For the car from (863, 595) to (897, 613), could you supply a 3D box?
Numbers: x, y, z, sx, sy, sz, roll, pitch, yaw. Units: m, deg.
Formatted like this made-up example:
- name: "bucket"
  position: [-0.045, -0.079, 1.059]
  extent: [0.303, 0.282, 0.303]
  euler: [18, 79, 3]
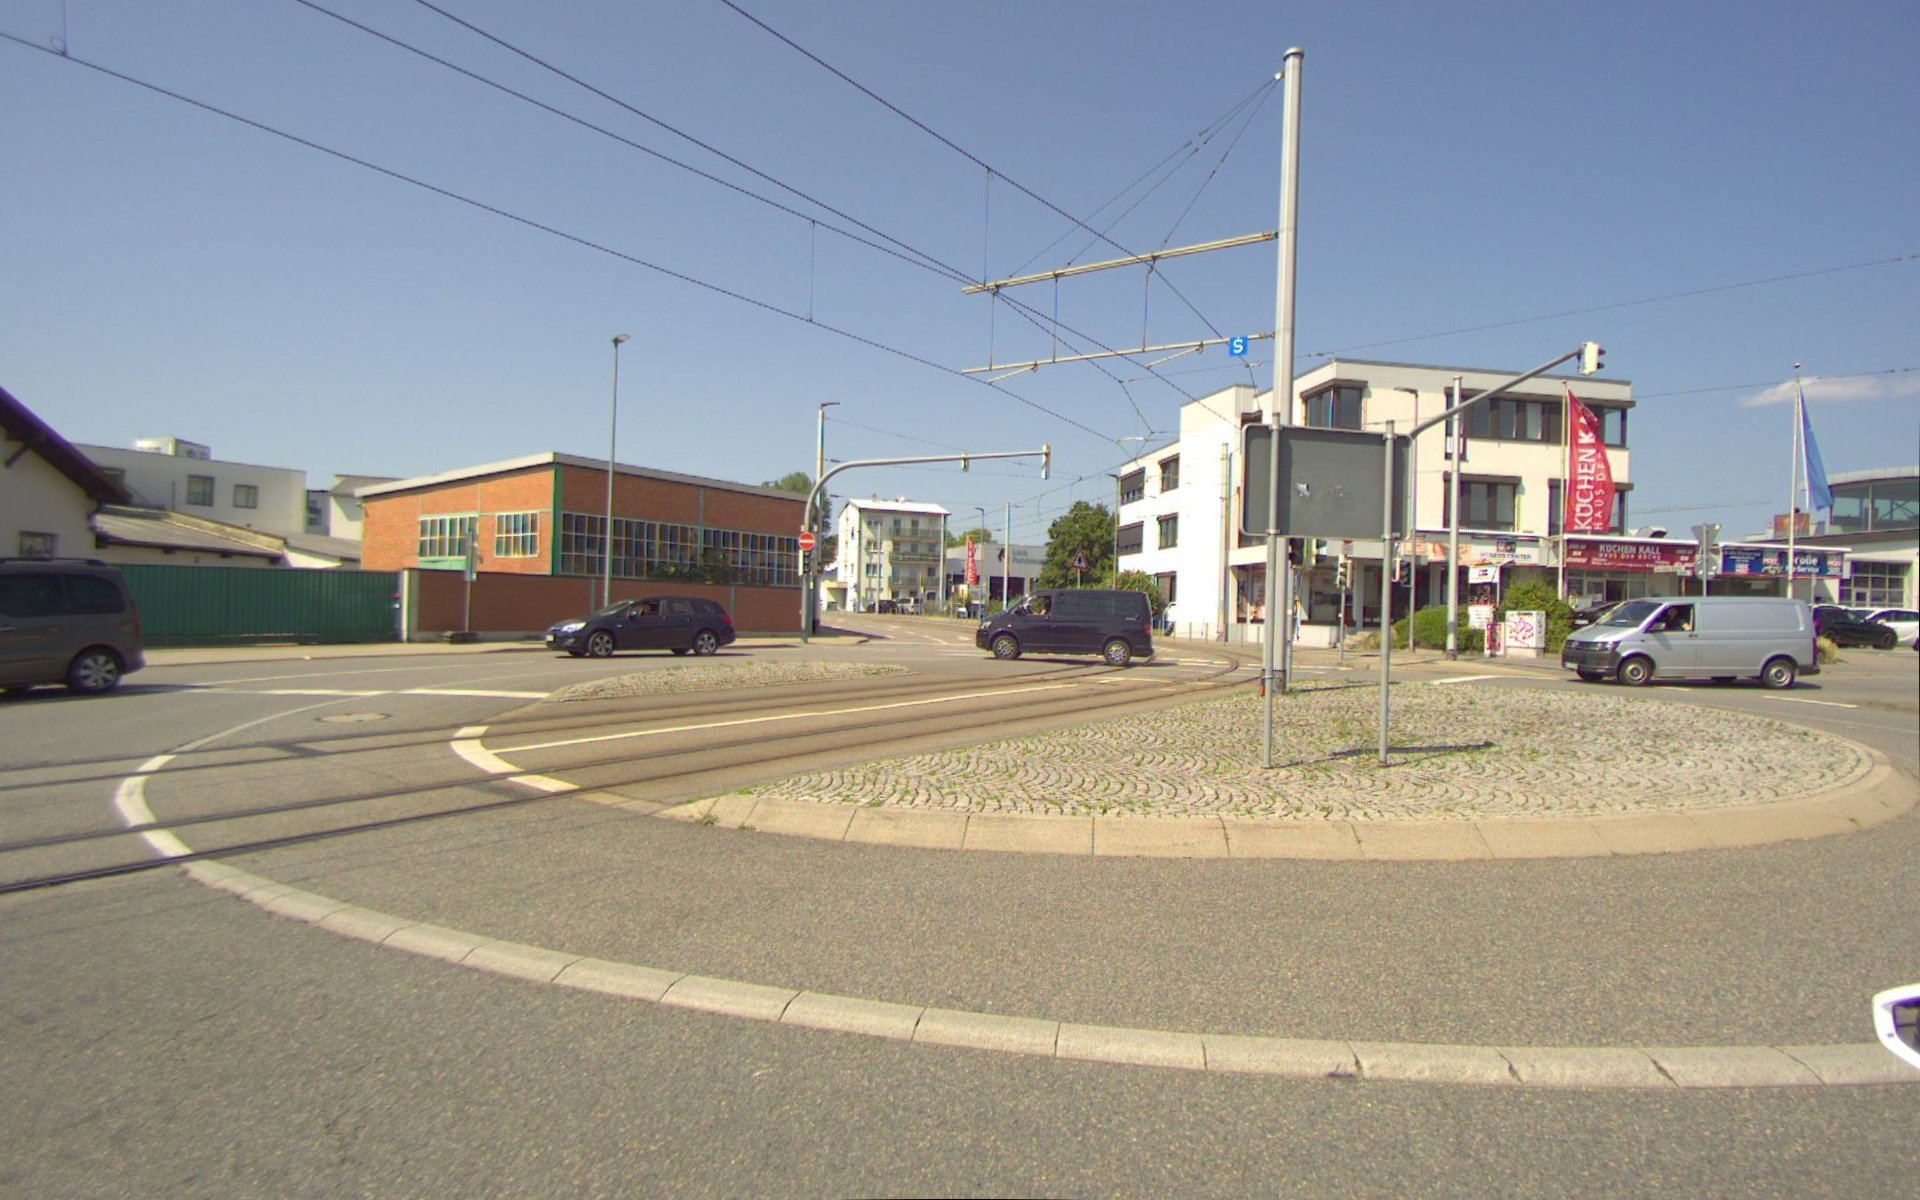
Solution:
- name: "car"
  position: [-9.089, 0.449, 113.293]
  extent: [1.983, 1.884, 3.956]
  euler: [1, -2, -39]

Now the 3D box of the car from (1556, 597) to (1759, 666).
- name: "car"
  position: [21.408, 0.951, 30.902]
  extent: [5.184, 1.992, 1.963]
  euler: [1, 0, -9]

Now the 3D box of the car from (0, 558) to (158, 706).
- name: "car"
  position: [-12.983, 0.376, 12.443]
  extent: [1.950, 1.843, 4.410]
  euler: [1, 0, 19]

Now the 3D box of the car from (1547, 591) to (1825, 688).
- name: "car"
  position: [16.097, 0.844, 22.469]
  extent: [4.733, 1.961, 1.934]
  euler: [1, 0, 1]

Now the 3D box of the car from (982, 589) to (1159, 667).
- name: "car"
  position: [3.014, 0.694, 27.044]
  extent: [4.545, 1.936, 2.099]
  euler: [1, 1, 12]

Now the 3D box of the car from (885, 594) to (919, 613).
- name: "car"
  position: [-6.586, 0.418, 113.610]
  extent: [1.983, 2.040, 3.956]
  euler: [1, -2, -39]

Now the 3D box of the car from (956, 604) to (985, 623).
- name: "car"
  position: [0.966, 1.301, 98.030]
  extent: [1.966, 1.806, 3.990]
  euler: [1, -1, -13]

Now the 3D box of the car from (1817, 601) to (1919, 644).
- name: "car"
  position: [36.928, 0.929, 39.921]
  extent: [4.843, 1.609, 1.882]
  euler: [1, -2, -13]

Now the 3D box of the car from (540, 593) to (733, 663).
- name: "car"
  position: [-7.989, 0.644, 24.930]
  extent: [4.200, 1.577, 1.950]
  euler: [0, 1, -35]

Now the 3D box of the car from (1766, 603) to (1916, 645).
- name: "car"
  position: [31.832, 0.855, 36.331]
  extent: [4.243, 1.446, 2.028]
  euler: [1, 0, -13]
